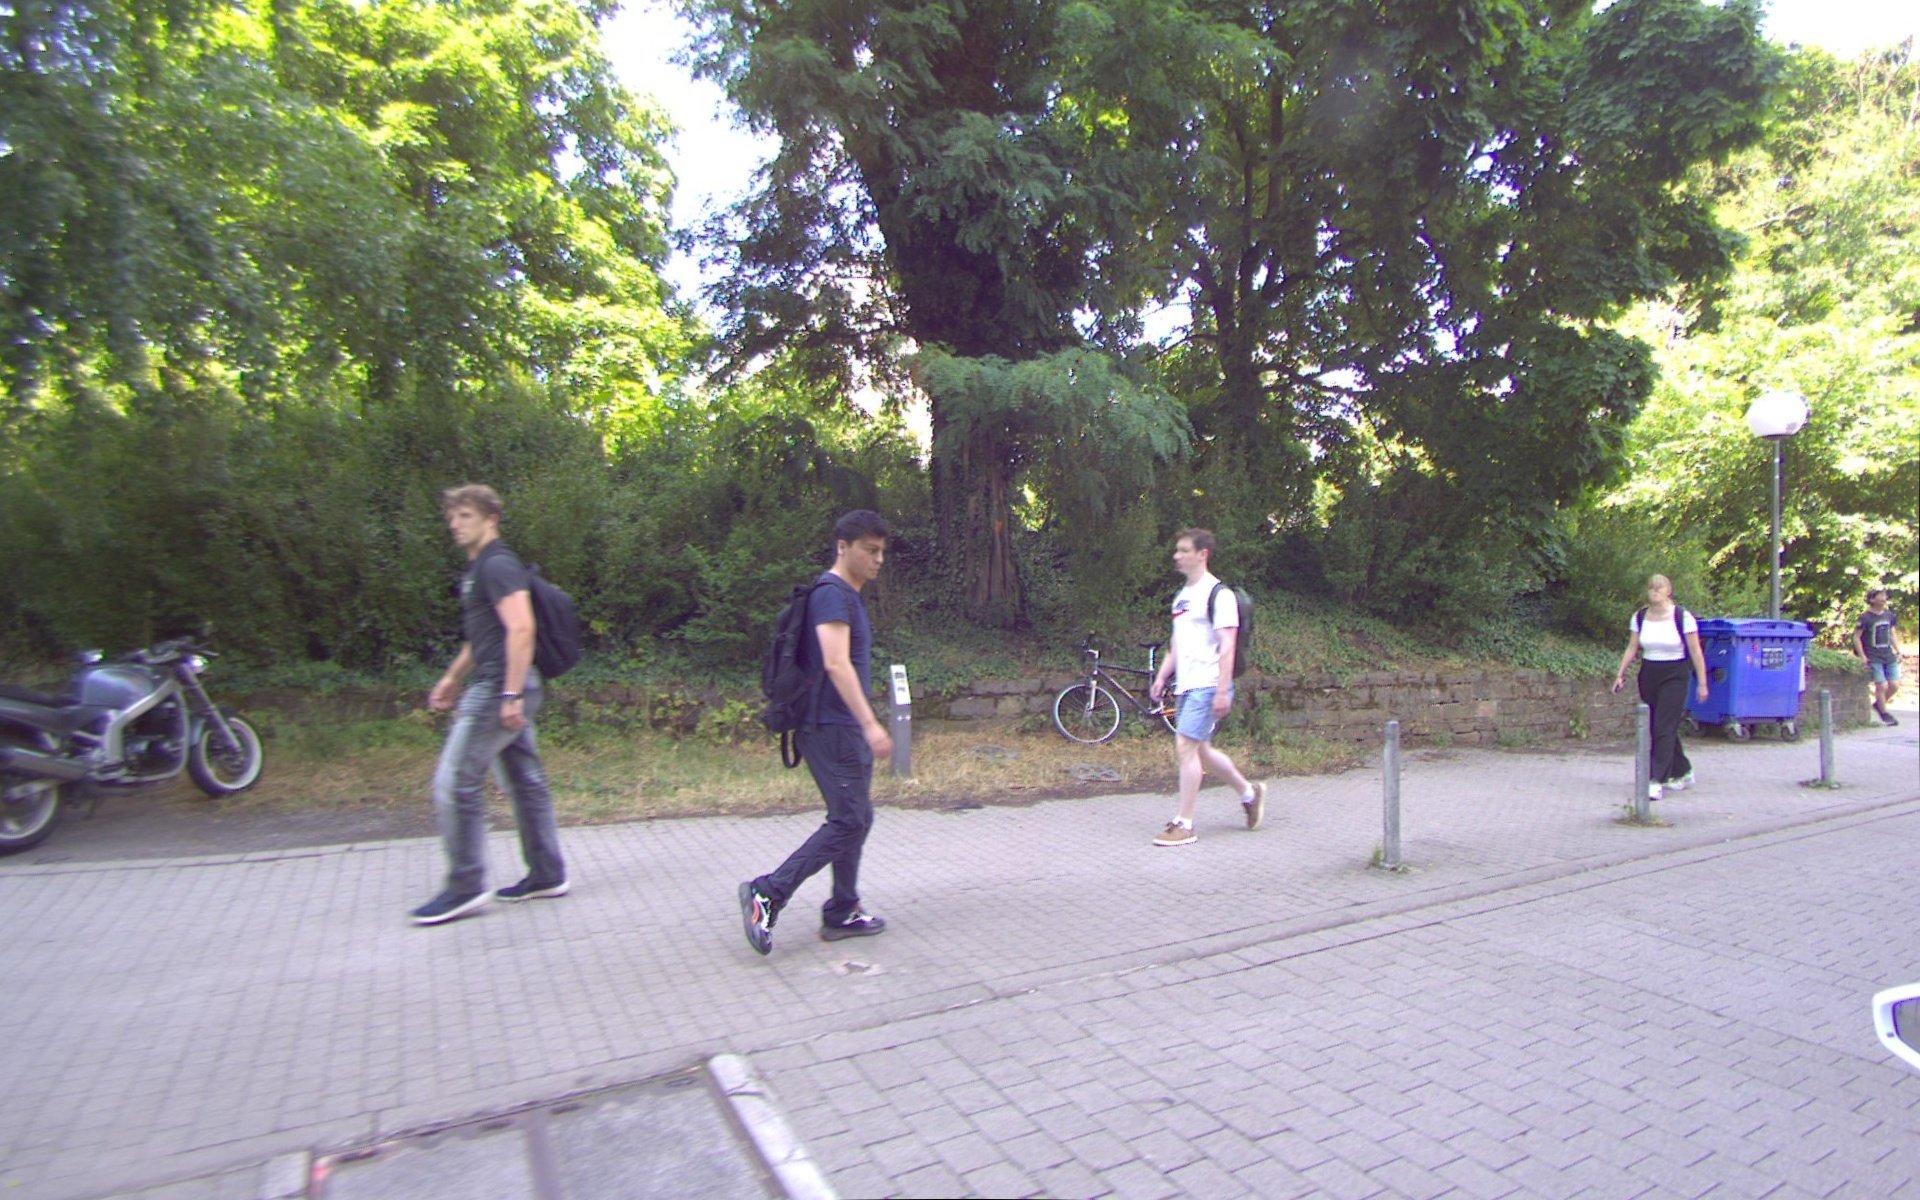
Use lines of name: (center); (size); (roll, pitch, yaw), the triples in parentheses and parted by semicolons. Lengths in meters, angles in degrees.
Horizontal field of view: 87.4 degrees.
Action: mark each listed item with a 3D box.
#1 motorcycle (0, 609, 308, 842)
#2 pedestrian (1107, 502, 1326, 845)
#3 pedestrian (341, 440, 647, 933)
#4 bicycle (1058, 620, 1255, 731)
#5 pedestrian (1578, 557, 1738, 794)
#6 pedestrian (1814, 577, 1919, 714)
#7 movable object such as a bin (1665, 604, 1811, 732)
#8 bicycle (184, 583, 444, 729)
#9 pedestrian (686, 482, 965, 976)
motorcycle: (-4.786, 0.633, 5.732); (0.464, 1.061, 2.026); (2, 2, 13)
pedestrian: (1.573, 0.412, 6.175); (1.071, 1.906, 0.719); (1, 1, -34)
pedestrian: (-2.065, 0.337, 4.457); (1.109, 1.898, 0.678); (1, 1, -34)
bicycle: (1.780, 0.685, 9.097); (1.711, 0.922, 0.421); (3, 1, -15)
pedestrian: (5.537, 0.561, 7.969); (0.991, 1.751, 0.678); (1, 1, -33)
pedestrian: (12.266, 0.579, 13.564); (0.671, 1.751, 1.021); (2, 1, 15)
movable object such as a bin: (8.901, 0.755, 11.511); (1.220, 1.354, 0.708); (1, 3, -20)
bicycle: (-5.071, 0.438, 7.952); (1.668, 1.061, 0.473); (2, 3, -8)
pedestrian: (-0.555, 0.453, 4.069); (0.894, 1.747, 0.680); (0, 2, -32)
